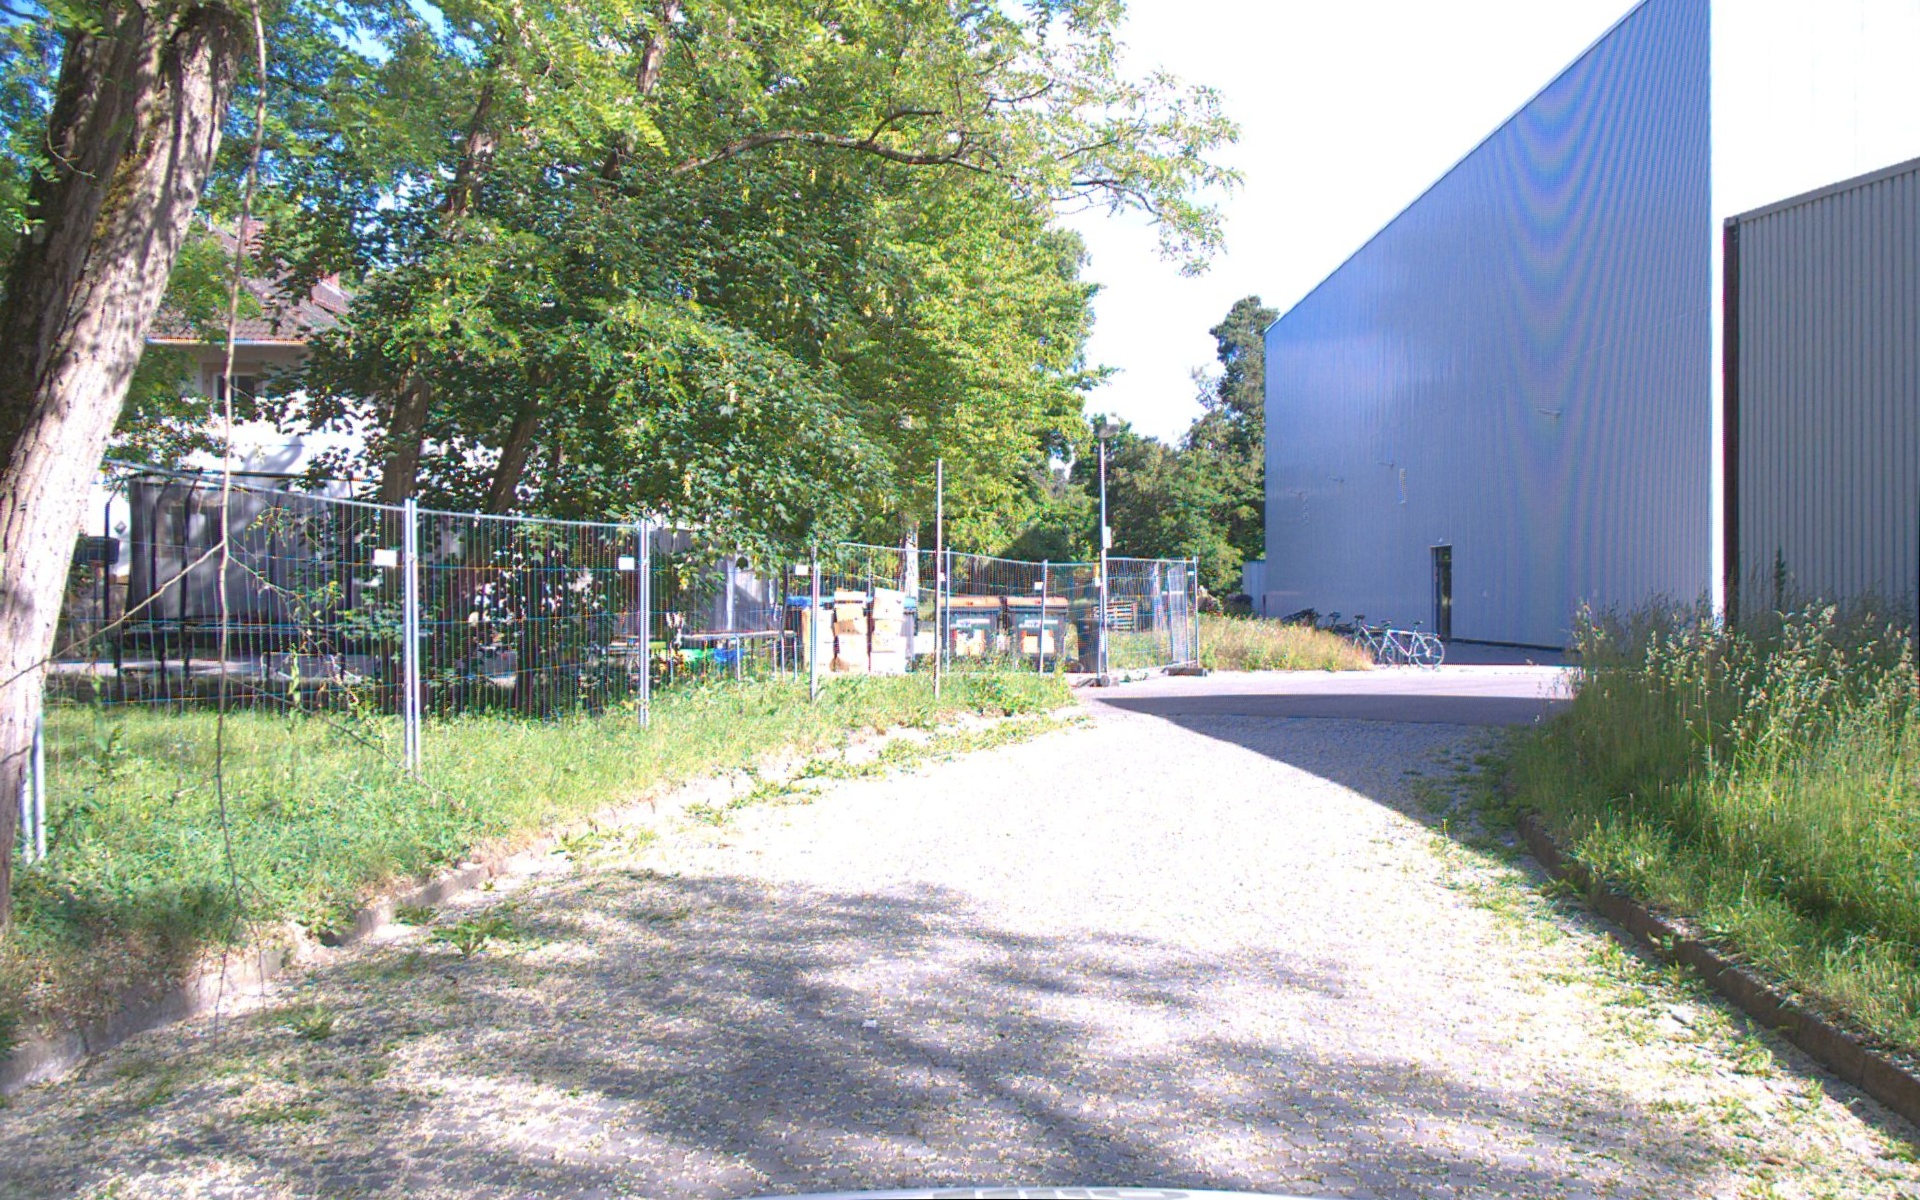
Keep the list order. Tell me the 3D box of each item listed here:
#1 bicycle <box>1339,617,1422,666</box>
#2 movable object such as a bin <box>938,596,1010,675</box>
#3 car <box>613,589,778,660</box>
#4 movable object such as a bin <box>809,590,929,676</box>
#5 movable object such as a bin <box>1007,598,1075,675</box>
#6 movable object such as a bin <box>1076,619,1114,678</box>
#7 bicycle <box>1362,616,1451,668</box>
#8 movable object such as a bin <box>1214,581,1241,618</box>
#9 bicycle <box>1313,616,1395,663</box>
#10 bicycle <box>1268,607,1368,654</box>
[{"bbox_3d":[9.539,0.946,37.577,1.755,1.101,0.525,0,0,1],"label":"bicycle"},{"bbox_3d":[0.259,0.675,32.138,1.312,1.510,0.806,0,0,-7],"label":"movable object such as a bin"},{"bbox_3d":[-7.771,0.719,48.992,4.617,1.935,1.998,-1,-1,-5],"label":"car"},{"bbox_3d":[-1.769,0.618,31.826,2.244,1.619,1.173,0,0,-6],"label":"movable object such as a bin"},{"bbox_3d":[1.571,0.702,32.185,1.220,1.470,0.702,0,0,-6],"label":"movable object such as a bin"},{"bbox_3d":[2.605,0.926,32.057,0.721,1.117,0.819,0,0,3],"label":"movable object such as a bin"},{"bbox_3d":[9.448,0.882,35.006,1.764,1.080,0.459,0,0,-5],"label":"bicycle"},{"bbox_3d":[14.815,-0.044,91.618,1.388,2.049,1.126,0,0,4],"label":"movable object such as a bin"},{"bbox_3d":[9.560,0.950,40.130,1.849,1.114,0.526,0,-1,-2],"label":"bicycle"},{"bbox_3d":[9.876,0.842,45.756,2.575,1.288,1.141,0,0,4],"label":"bicycle"}]
